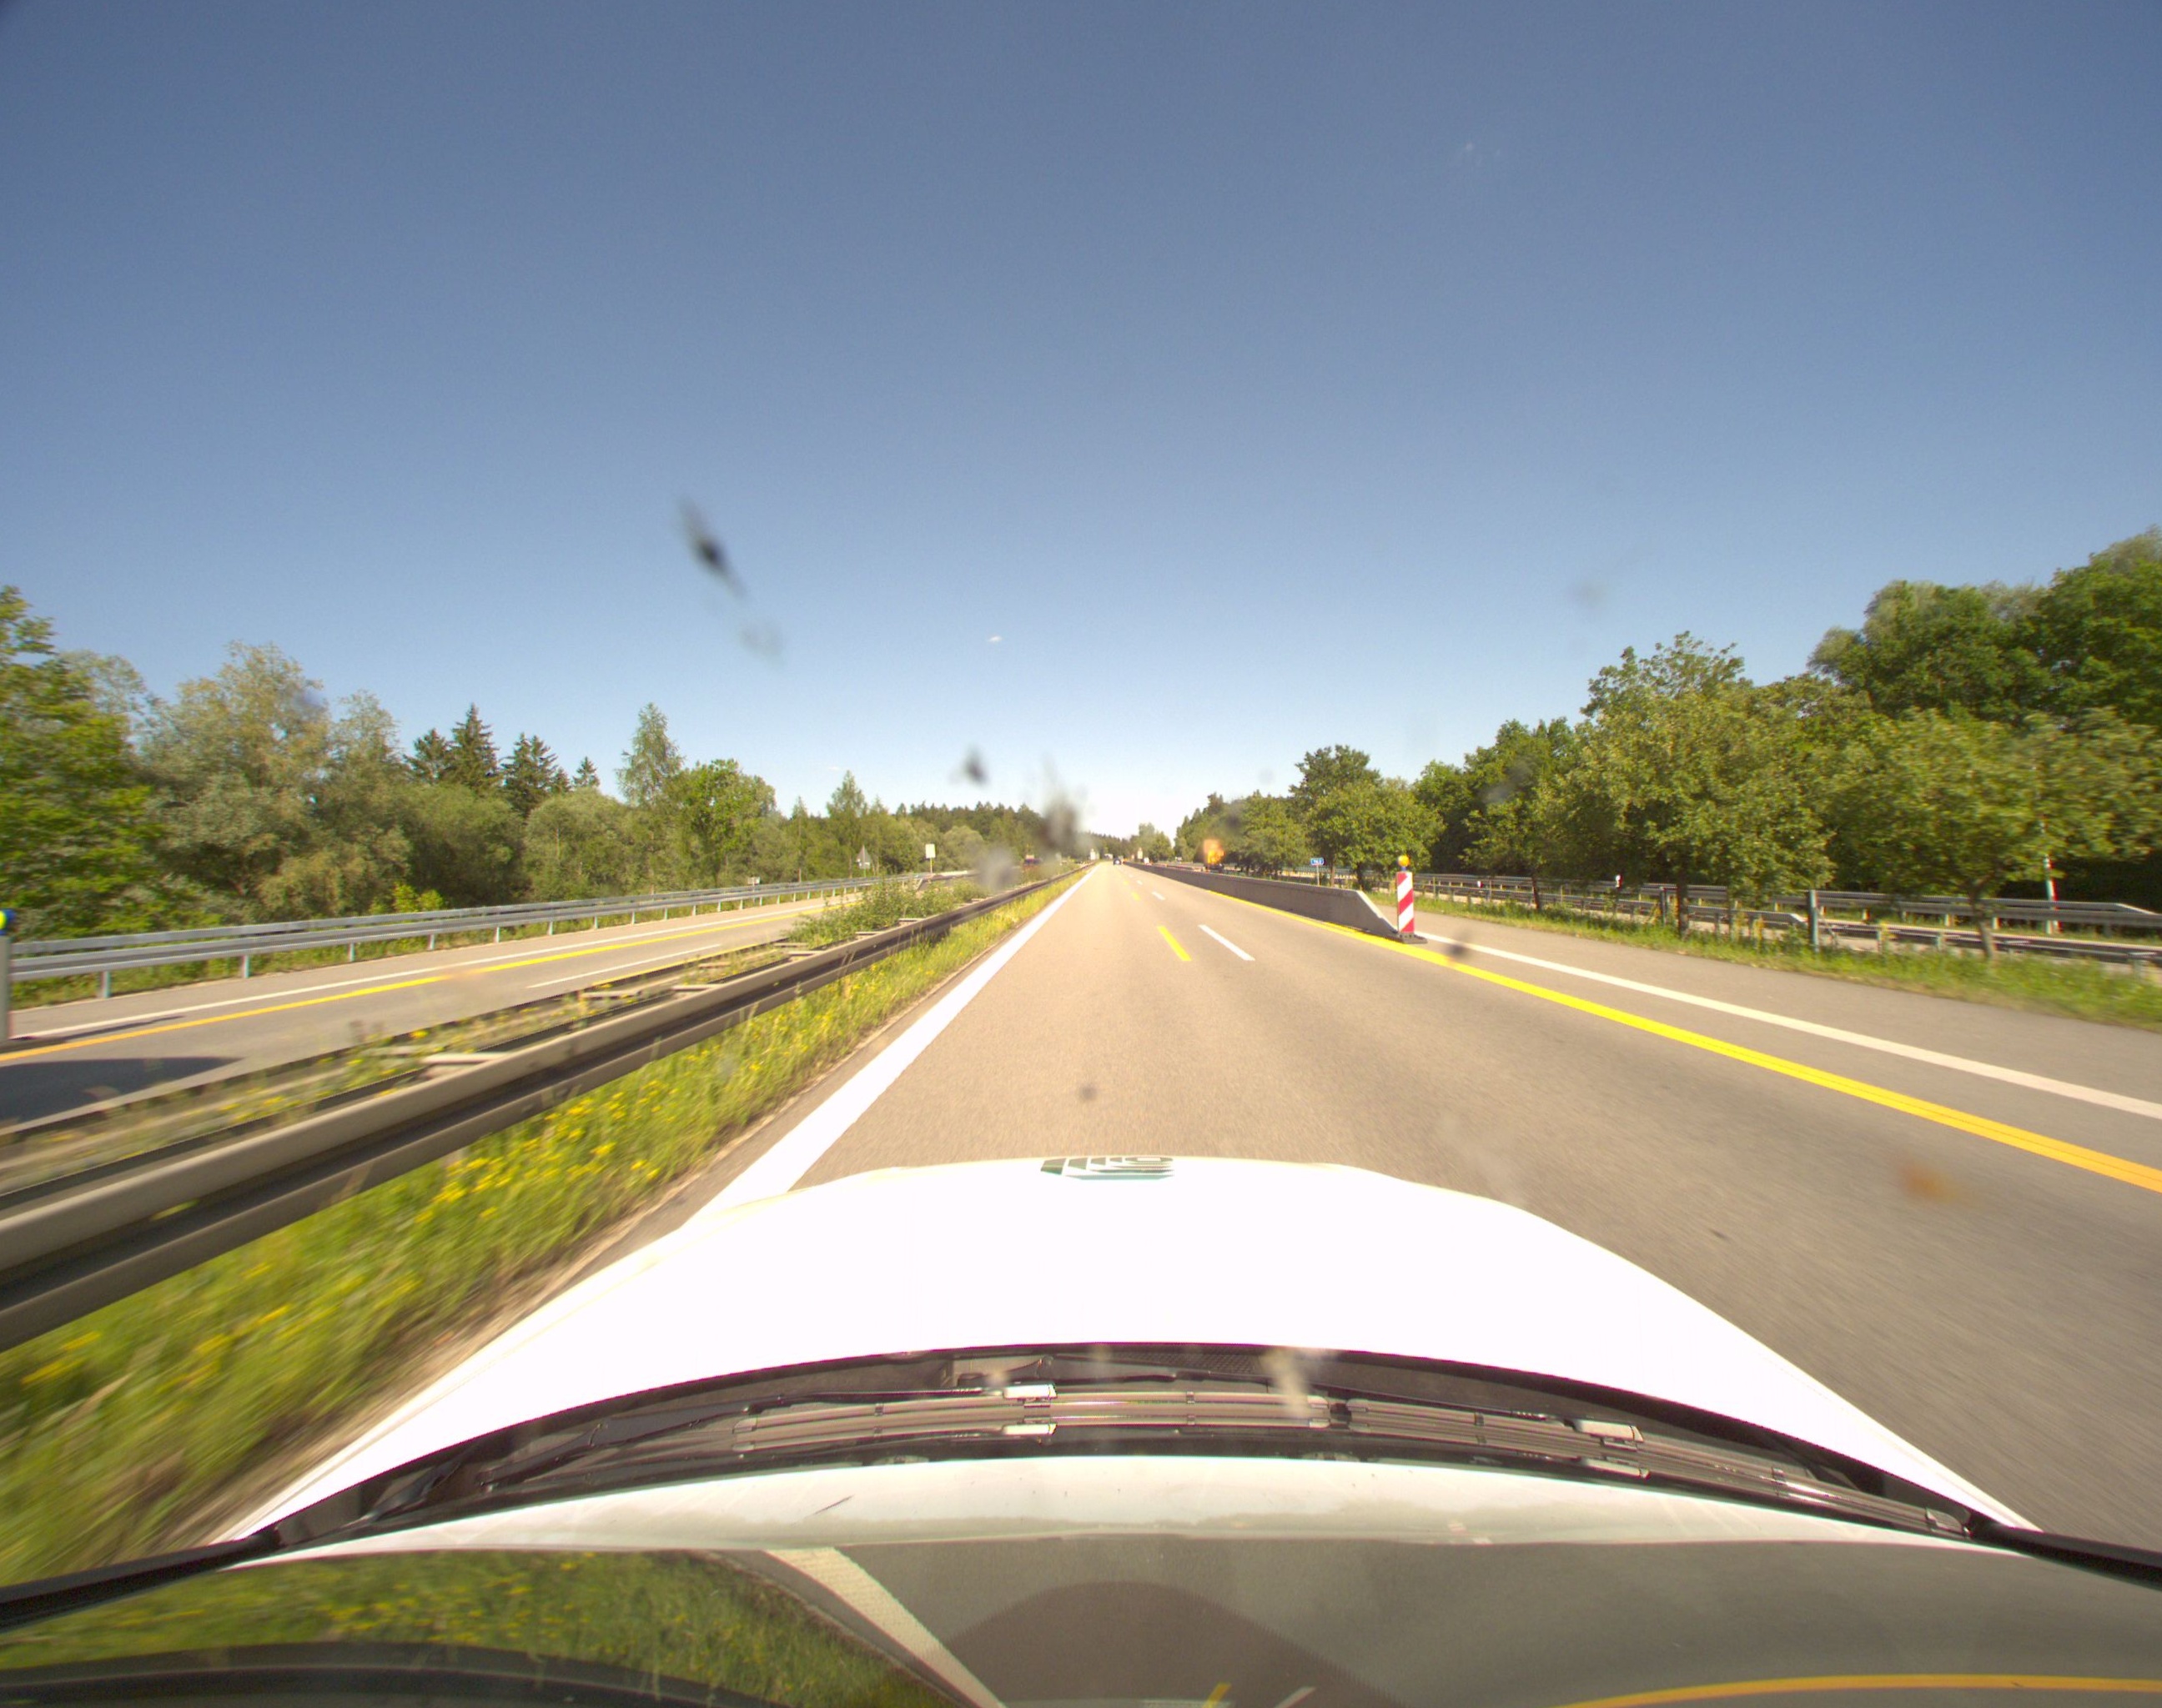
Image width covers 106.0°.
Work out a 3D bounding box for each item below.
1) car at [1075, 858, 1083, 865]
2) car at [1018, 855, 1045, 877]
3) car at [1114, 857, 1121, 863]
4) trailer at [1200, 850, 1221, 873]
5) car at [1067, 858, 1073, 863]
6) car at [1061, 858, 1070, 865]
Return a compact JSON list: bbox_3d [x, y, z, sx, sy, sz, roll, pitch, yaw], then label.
[{"bbox_3d":[-0.452,1.644,184.710,1.639,1.377,4.811,-2,0,3],"label":"car"},{"bbox_3d":[-4.614,1.125,76.787,1.866,1.974,5.581,0,0,3],"label":"car"},{"bbox_3d":[8.690,1.447,193.723,1.737,1.466,4.295,-2,0,2],"label":"car"},{"bbox_3d":[11.153,0.634,70.247,1.121,1.873,3.999,-2,0,0],"label":"trailer"},{"bbox_3d":[-3.433,1.943,255.760,1.737,1.466,4.911,-2,0,1],"label":"car"},{"bbox_3d":[-3.473,1.610,180.942,1.676,1.393,4.194,-2,0,1],"label":"car"}]
